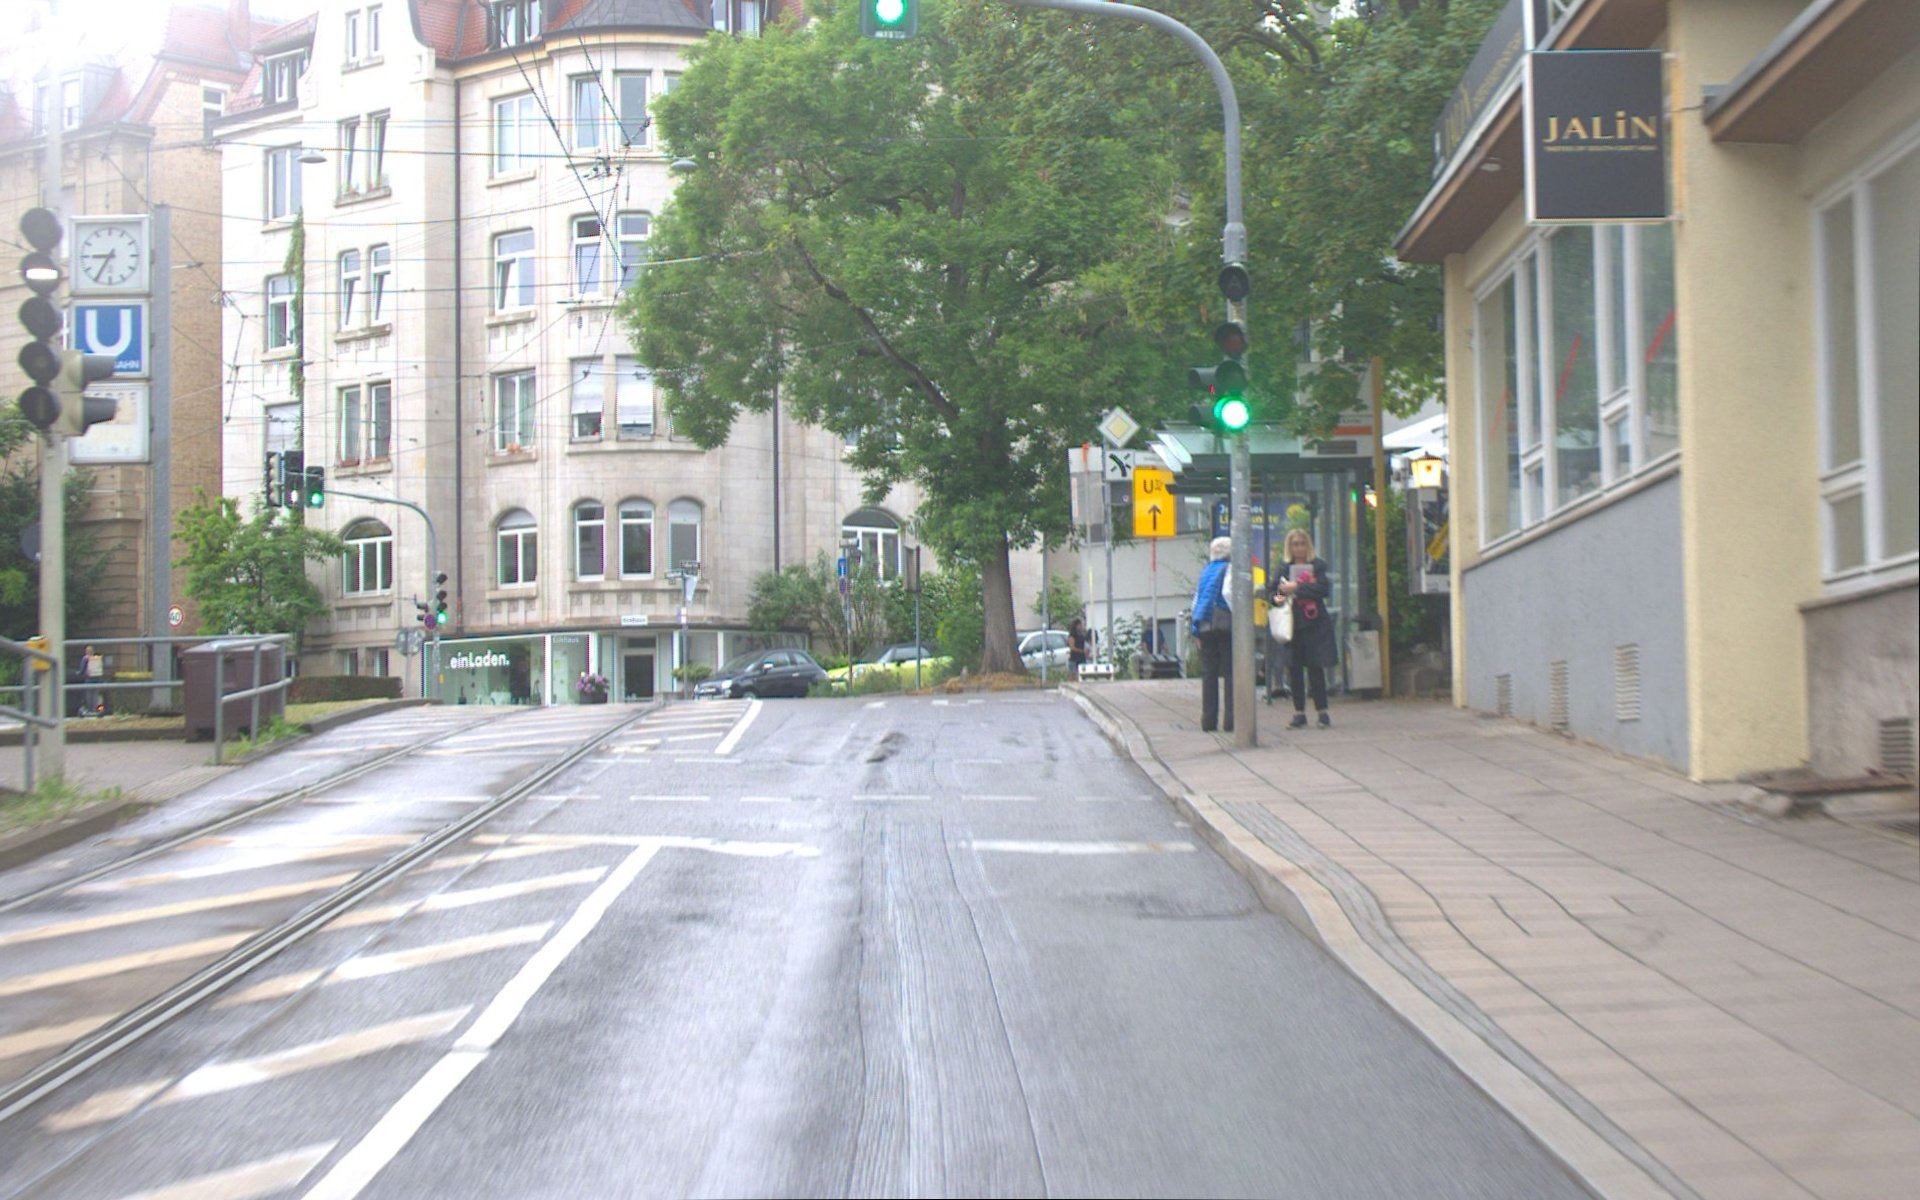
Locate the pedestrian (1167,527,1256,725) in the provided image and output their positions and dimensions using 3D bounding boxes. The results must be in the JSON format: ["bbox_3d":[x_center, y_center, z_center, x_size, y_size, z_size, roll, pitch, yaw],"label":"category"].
[{"bbox_3d":[2.016,0.204,27.617,0.588,1.548,0.650,-3,1,-1],"label":"pedestrian"}]

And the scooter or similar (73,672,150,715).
[{"bbox_3d":[-21.742,2.388,88.052,2.005,1.046,0.514,1,-4,27],"label":"scooter or similar"}]

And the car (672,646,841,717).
[{"bbox_3d":[-4.817,1.932,81.607,3.660,1.503,1.737,-2,0,-42],"label":"car"}]

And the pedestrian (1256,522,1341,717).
[{"bbox_3d":[2.766,0.153,28.111,0.545,1.548,0.559,-3,1,-3],"label":"pedestrian"}]

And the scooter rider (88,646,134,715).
[{"bbox_3d":[-21.738,2.057,88.036,0.842,1.700,0.624,1,-4,27],"label":"scooter rider"}]

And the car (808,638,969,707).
[{"bbox_3d":[-1.751,1.790,84.722,3.660,1.503,1.737,-2,0,-42],"label":"car"}]

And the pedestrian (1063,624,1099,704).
[{"bbox_3d":[2.400,1.264,68.305,0.599,1.560,0.546,1,0,-10],"label":"pedestrian"}]

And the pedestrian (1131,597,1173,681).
[{"bbox_3d":[3.772,0.757,67.499,0.544,1.624,0.601,1,1,-33],"label":"pedestrian"}]

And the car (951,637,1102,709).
[{"bbox_3d":[1.729,1.855,87.959,1.622,1.503,3.764,-6,-2,44],"label":"car"}]

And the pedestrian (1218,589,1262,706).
[{"bbox_3d":[2.809,0.474,34.493,0.325,1.146,0.318,-4,1,-4],"label":"pedestrian"}]
